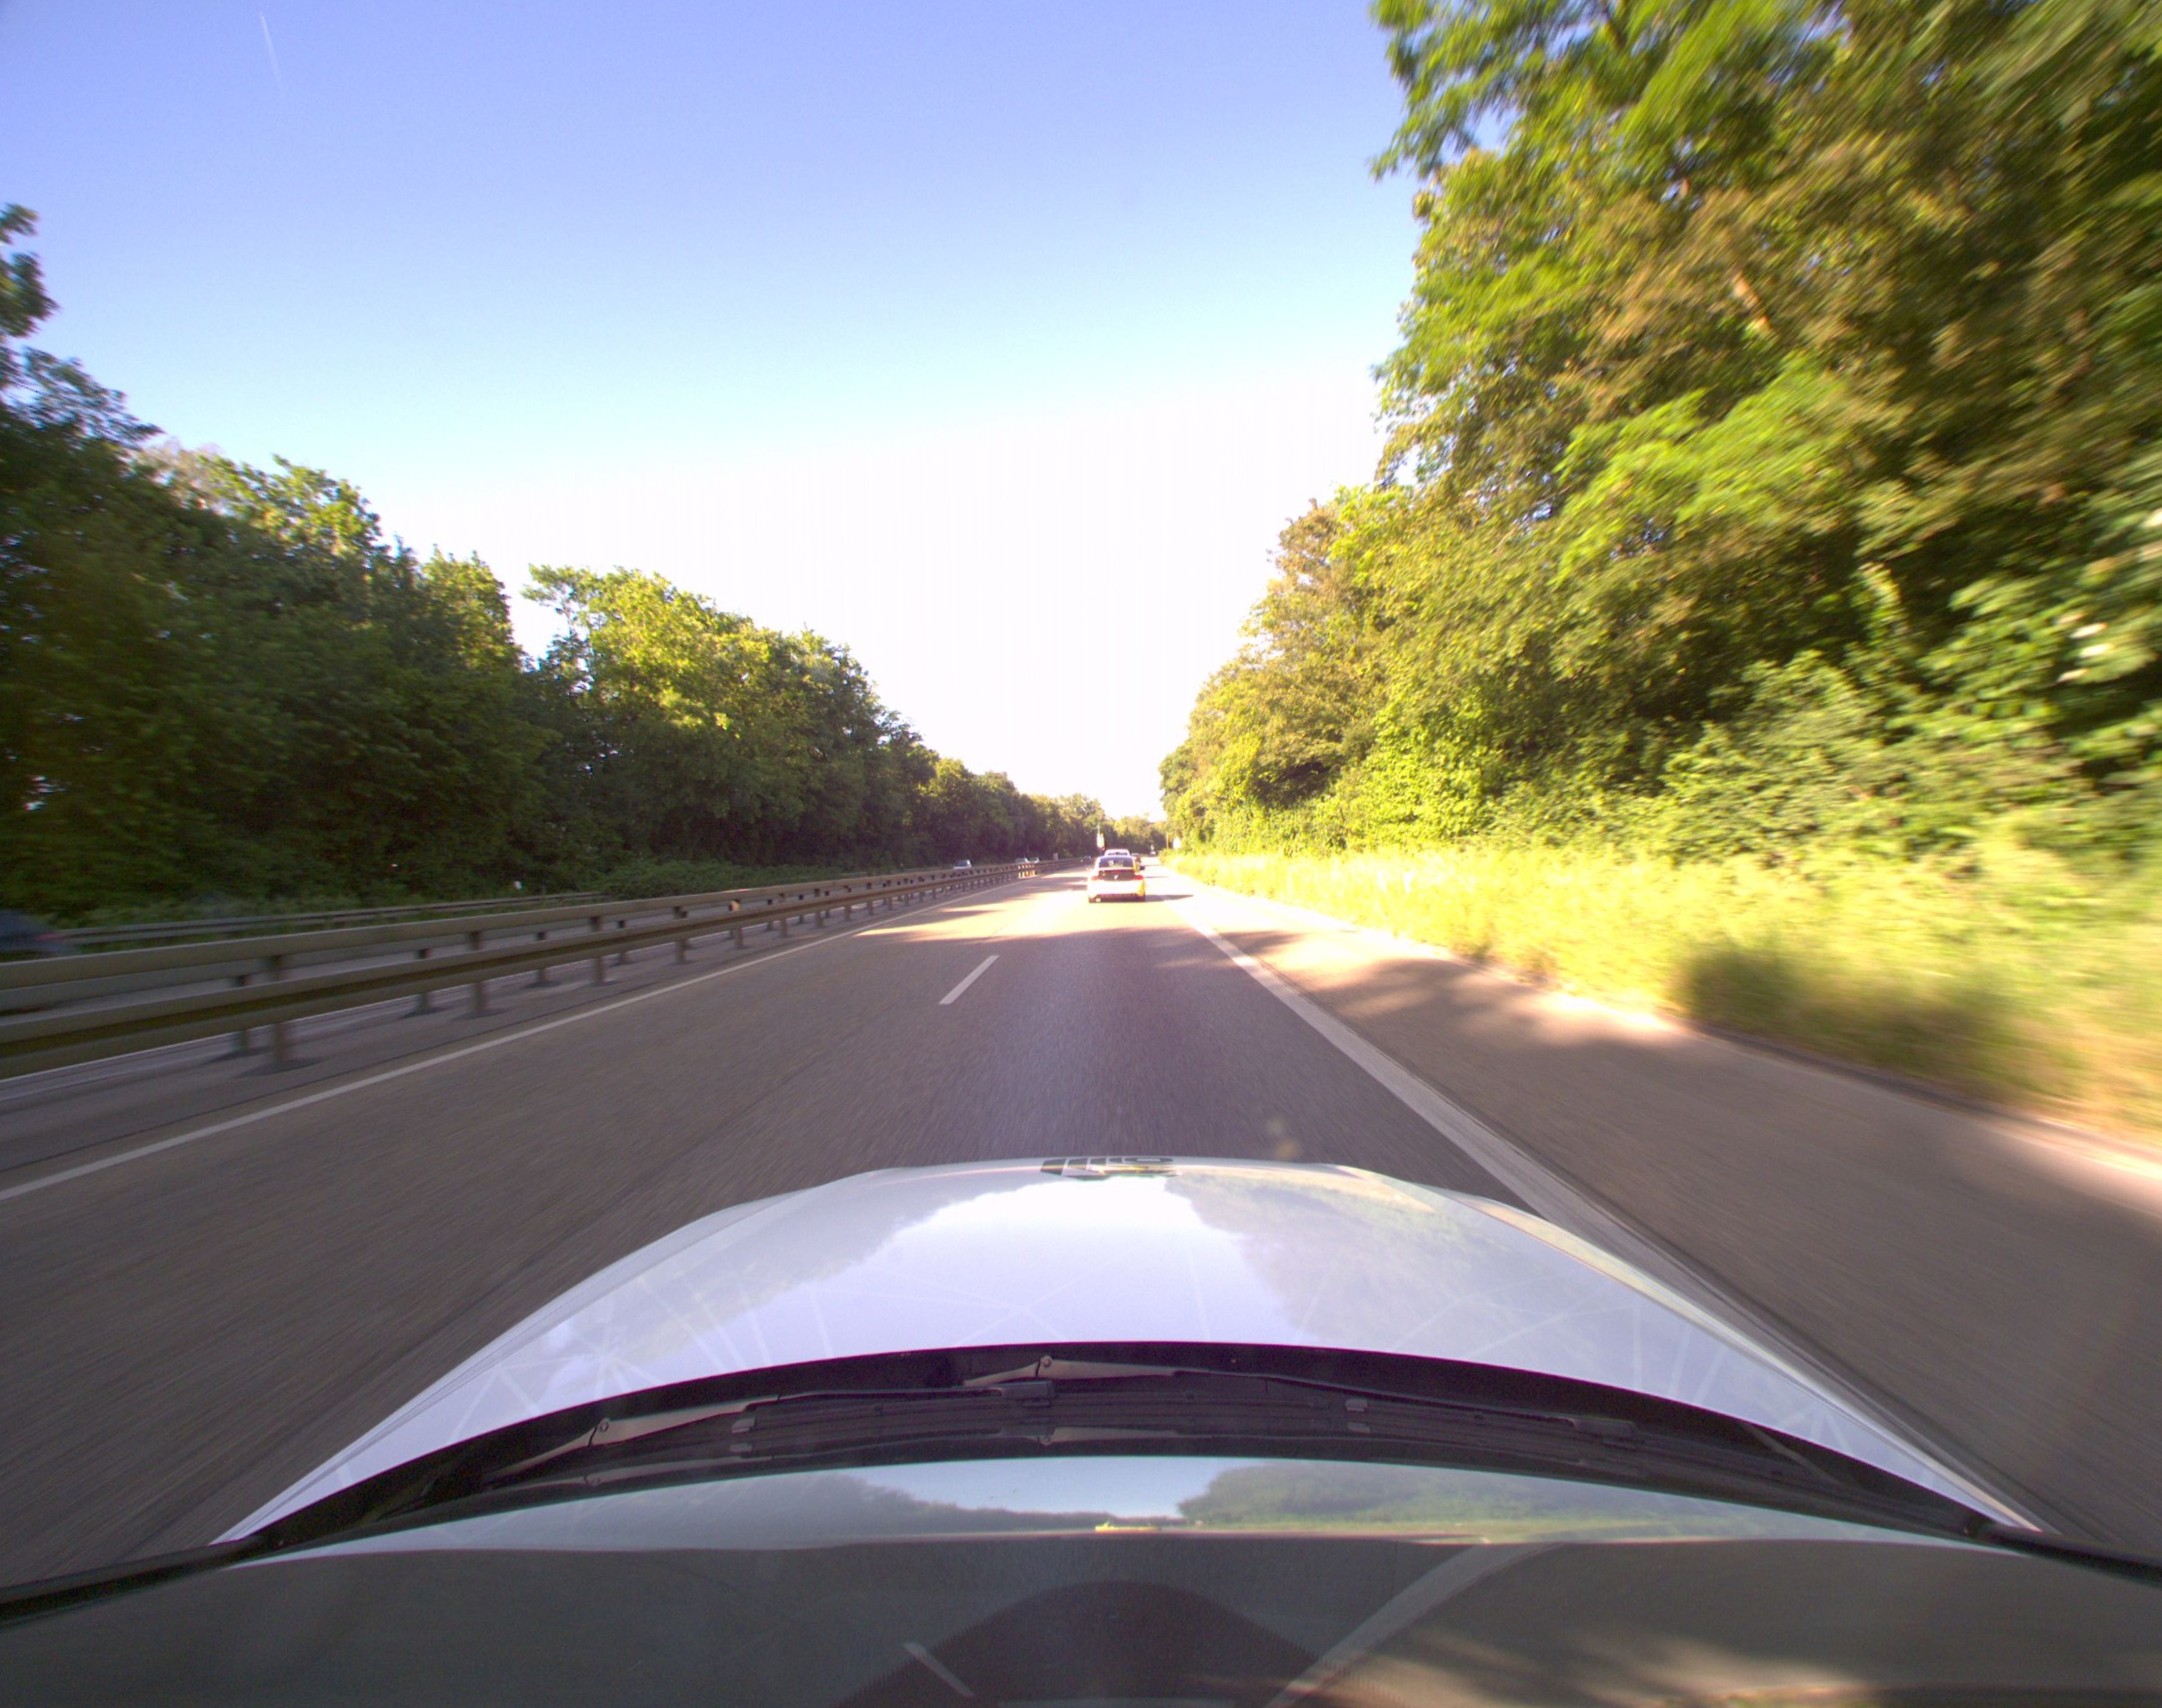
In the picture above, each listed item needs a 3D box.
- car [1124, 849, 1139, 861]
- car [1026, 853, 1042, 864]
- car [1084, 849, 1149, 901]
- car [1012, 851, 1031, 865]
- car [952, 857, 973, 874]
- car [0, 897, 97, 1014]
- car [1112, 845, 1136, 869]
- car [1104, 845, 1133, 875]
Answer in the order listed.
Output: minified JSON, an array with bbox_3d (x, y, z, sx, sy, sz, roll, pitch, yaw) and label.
[{"bbox_3d":[8.026,0.087,129.814,2.254,1.875,5.079,0,0,2],"label":"car"},{"bbox_3d":[-7.304,0.636,127.230,1.985,1.585,4.003,-4,0,3],"label":"car"},{"bbox_3d":[1.189,0.637,26.295,1.930,1.508,3.426,-2,0,4],"label":"car"},{"bbox_3d":[-8.168,0.595,111.973,1.985,1.750,4.554,-4,0,3],"label":"car"},{"bbox_3d":[-11.477,1.106,79.093,1.408,1.619,2.877,-2,0,3],"label":"car"},{"bbox_3d":[-14.473,1.336,9.265,1.600,1.423,4.002,-2,0,2],"label":"car"},{"bbox_3d":[3.968,0.283,75.101,1.985,2.013,4.003,-4,0,3],"label":"car"},{"bbox_3d":[2.340,0.361,50.938,1.734,1.830,3.425,-1,0,2],"label":"car"}]
